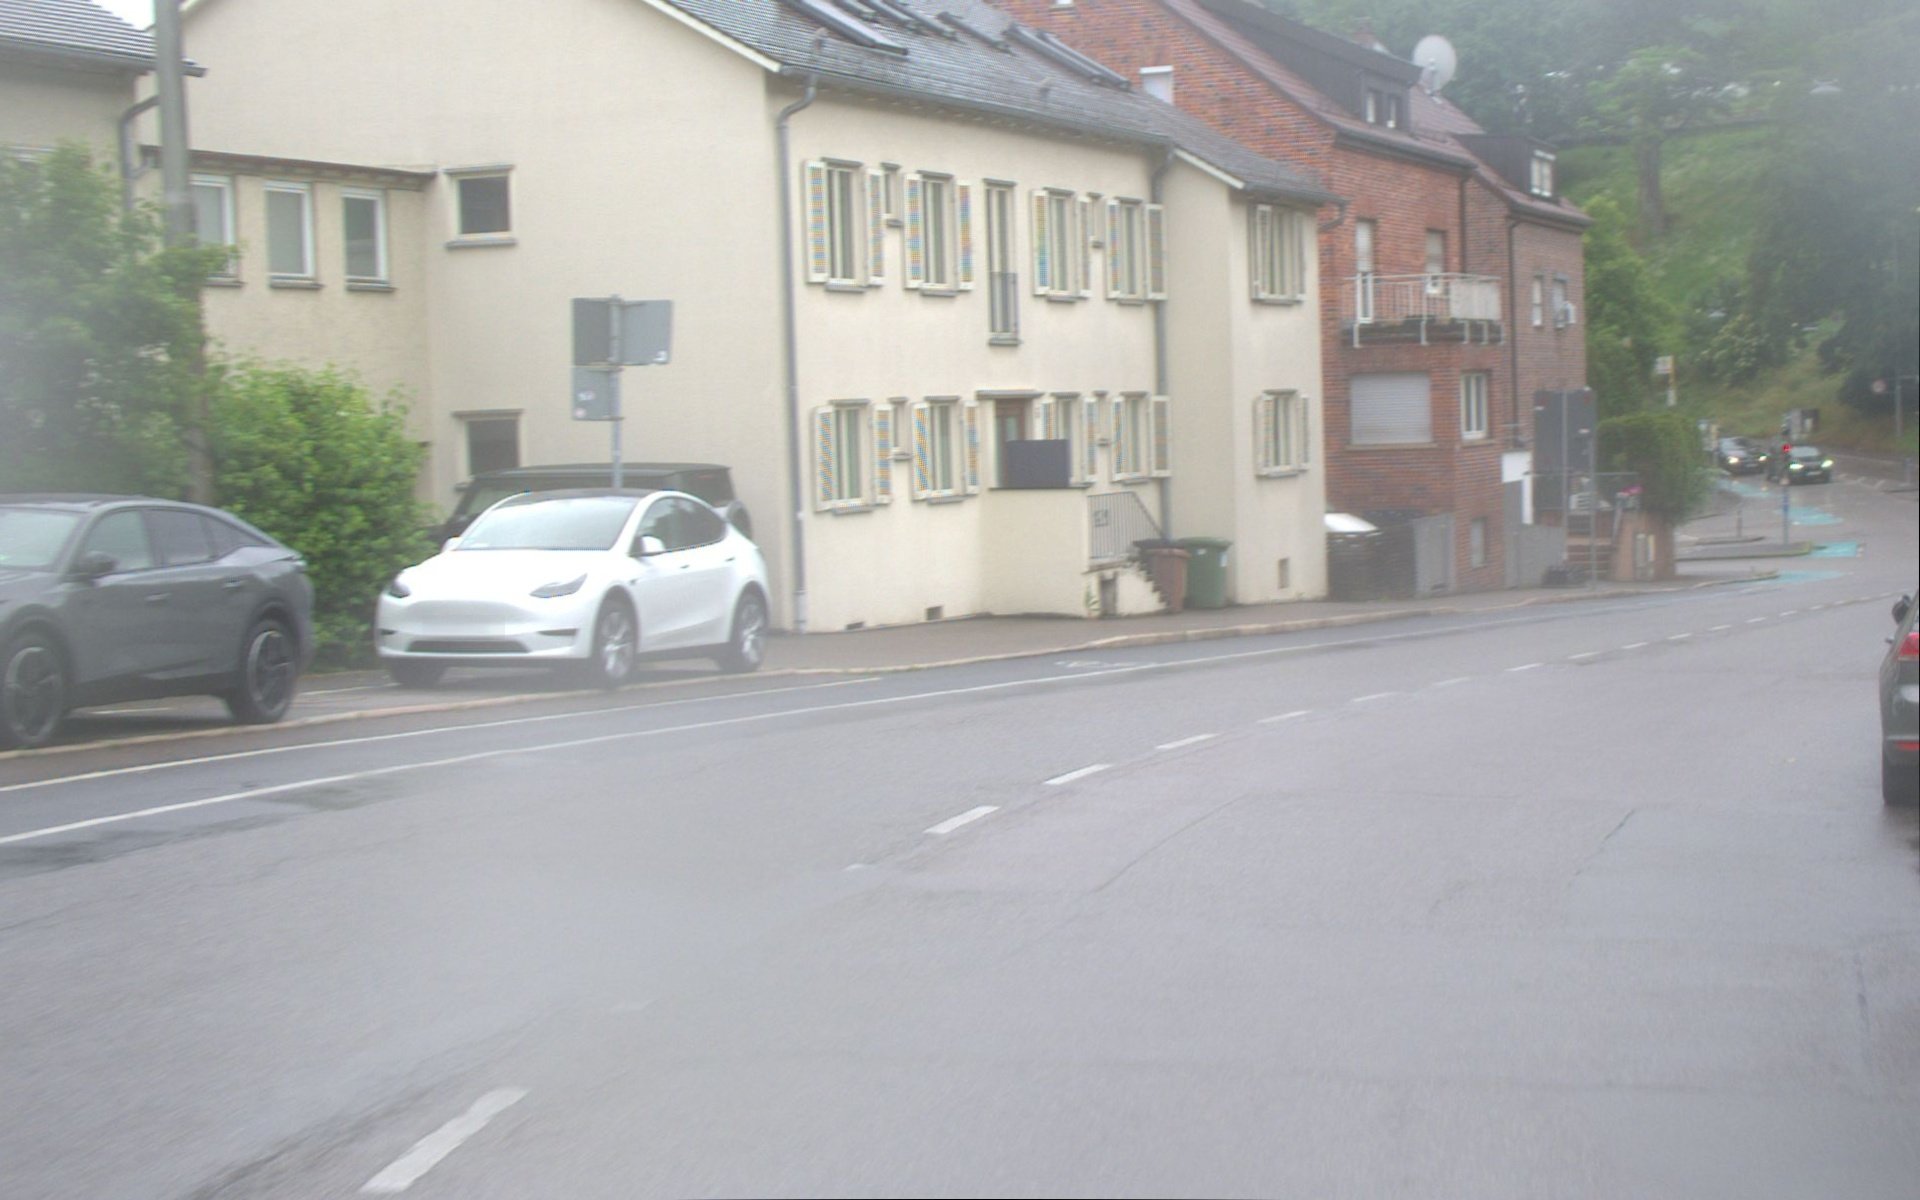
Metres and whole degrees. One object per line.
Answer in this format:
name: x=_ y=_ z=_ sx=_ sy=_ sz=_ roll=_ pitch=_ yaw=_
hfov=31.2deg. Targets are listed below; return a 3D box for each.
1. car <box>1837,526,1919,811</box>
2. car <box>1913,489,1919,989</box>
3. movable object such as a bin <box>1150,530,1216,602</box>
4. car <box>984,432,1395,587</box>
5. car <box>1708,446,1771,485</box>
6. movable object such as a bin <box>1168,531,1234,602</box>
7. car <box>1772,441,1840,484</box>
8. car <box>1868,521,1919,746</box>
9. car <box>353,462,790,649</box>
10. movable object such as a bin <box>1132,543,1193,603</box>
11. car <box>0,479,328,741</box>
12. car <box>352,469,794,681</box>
car: x=6.023 y=0.322 z=19.776 sx=1.642 sy=1.431 sz=4.170 roll=1 pitch=2 yaw=18
car: x=3.756 y=0.498 z=9.272 sx=1.804 sy=1.643 sz=4.209 roll=0 pitch=1 yaw=9
movable object such as a bin: x=3.264 y=-0.501 z=50.274 sx=0.782 sy=1.043 sz=0.708 roll=1 pitch=1 yaw=22
car: x=3.907 y=-1.515 z=58.827 sx=6.662 sy=2.545 sz=2.165 roll=0 pitch=0 yaw=23
car: x=32.292 y=-5.573 z=142.484 sx=1.741 sy=1.545 sz=4.000 roll=-2 pitch=2 yaw=1
movable object such as a bin: x=3.587 y=-0.506 z=51.151 sx=0.782 sy=1.043 sz=0.737 roll=1 pitch=1 yaw=22
car: x=33.501 y=-5.445 z=136.238 sx=1.741 sy=1.545 sz=4.000 roll=-4 pitch=2 yaw=2
car: x=7.690 y=0.183 z=24.801 sx=1.791 sy=1.491 sz=4.701 roll=1 pitch=1 yaw=20
car: x=-4.365 y=-0.514 z=38.740 sx=4.492 sy=2.006 sz=1.886 roll=0 pitch=2 yaw=19
movable object such as a bin: x=2.922 y=-0.393 z=49.538 sx=0.674 sy=0.856 sz=0.708 roll=1 pitch=1 yaw=22
car: x=-5.762 y=0.013 z=21.119 sx=1.809 sy=1.471 sz=4.519 roll=1 pitch=1 yaw=17
car: x=-3.145 y=-0.244 z=28.995 sx=1.931 sy=1.625 sz=4.673 roll=1 pitch=1 yaw=18
